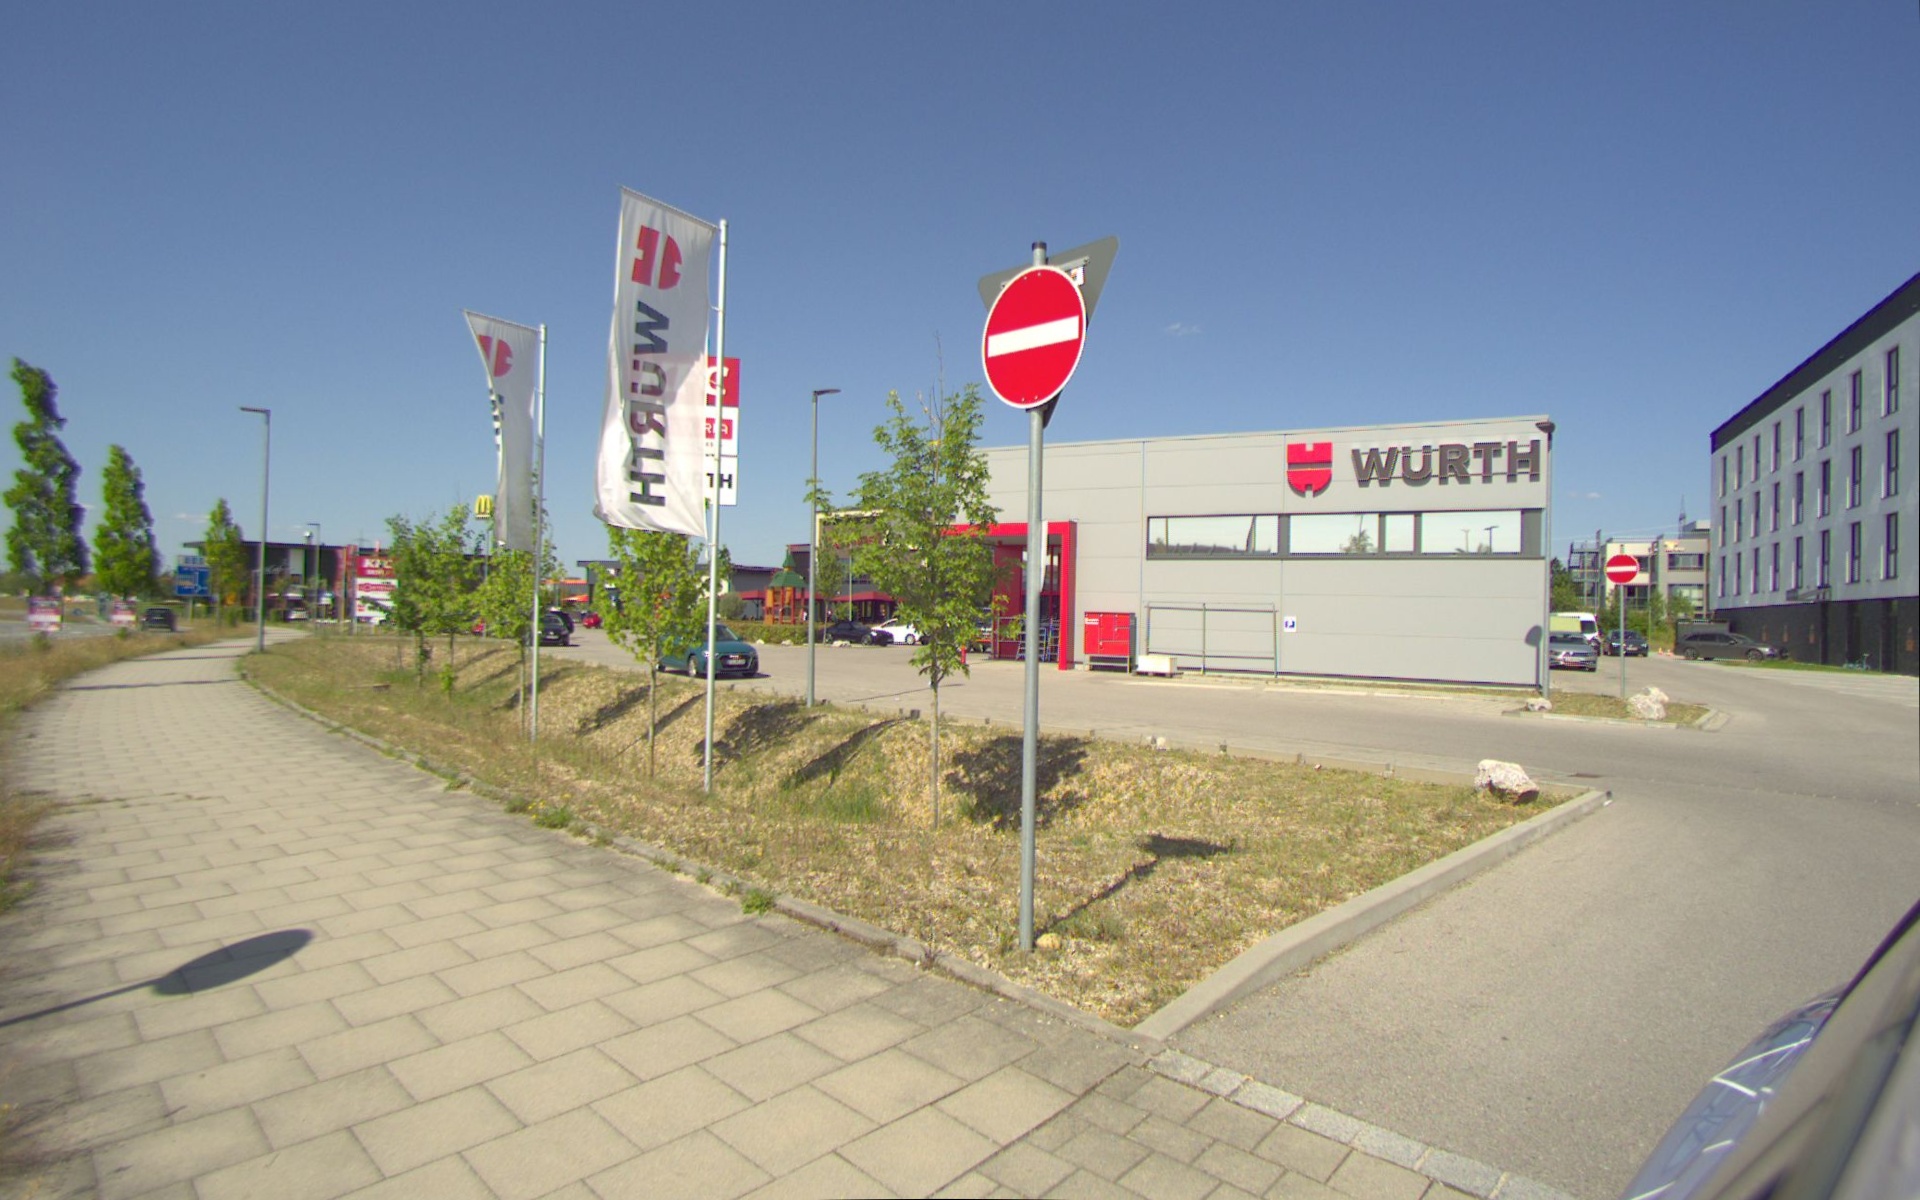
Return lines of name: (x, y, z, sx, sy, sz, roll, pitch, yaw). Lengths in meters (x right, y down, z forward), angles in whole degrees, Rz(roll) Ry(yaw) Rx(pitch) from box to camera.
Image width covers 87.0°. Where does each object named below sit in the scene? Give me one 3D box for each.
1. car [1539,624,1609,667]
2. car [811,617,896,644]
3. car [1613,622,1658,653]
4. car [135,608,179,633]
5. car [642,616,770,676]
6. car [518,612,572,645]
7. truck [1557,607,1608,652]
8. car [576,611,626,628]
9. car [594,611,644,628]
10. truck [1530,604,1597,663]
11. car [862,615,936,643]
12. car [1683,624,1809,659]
car: (23.671, 1.696, 39.120, 1.860, 1.527, 3.965, 0, -1, 25)
car: (-5.605, 1.581, 53.300, 4.113, 1.355, 1.814, 0, -1, 27)
car: (37.757, 2.058, 56.645, 1.703, 1.638, 3.960, 0, -1, 28)
car: (-51.986, 1.316, 65.608, 1.877, 1.571, 4.388, 1, -1, -34)
car: (-6.964, 1.181, 27.463, 1.812, 1.468, 4.223, 2, -1, -38)
car: (-19.756, 1.325, 48.110, 1.840, 1.484, 4.368, 1, -1, -29)
truck: (35.529, 1.648, 57.920, 1.980, 2.407, 5.834, 0, -1, 27)
car: (-33.790, 1.862, 95.292, 1.868, 1.586, 4.040, 0, -1, 38)
car: (-31.580, 1.824, 93.718, 1.868, 1.586, 4.040, 0, -1, 38)
truck: (26.730, 1.439, 44.989, 2.103, 2.407, 5.834, 0, -1, 27)
car: (-3.464, 1.644, 57.614, 3.883, 1.493, 1.783, 0, -1, 32)
car: (38.382, 2.000, 49.541, 1.841, 1.527, 4.531, 1, -1, -26)
